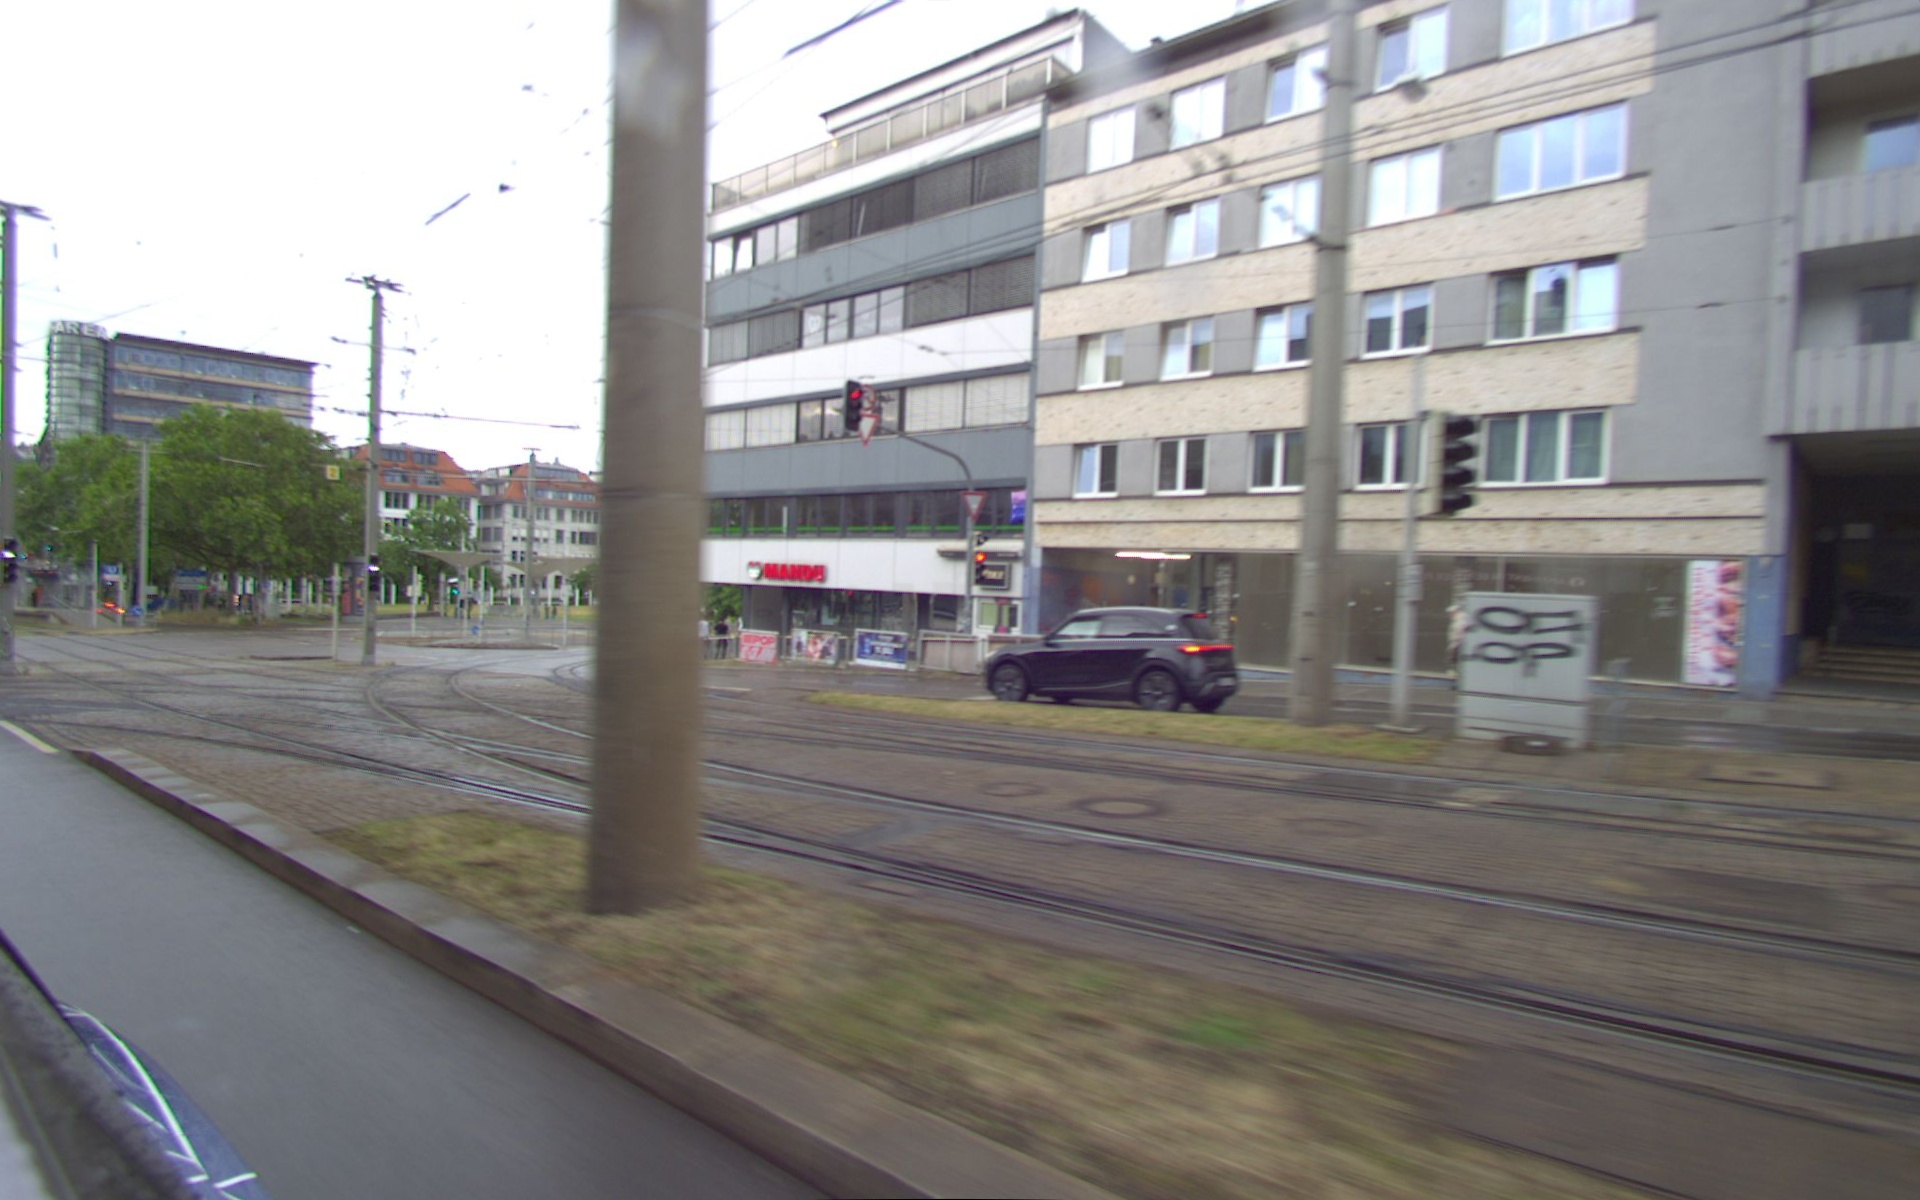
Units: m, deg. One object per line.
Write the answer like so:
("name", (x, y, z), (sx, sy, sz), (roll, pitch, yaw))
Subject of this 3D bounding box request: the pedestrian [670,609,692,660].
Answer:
("pedestrian", (-10.856, 1.338, 39.365), (0.687, 1.928, 0.720), (1, 0, -7))

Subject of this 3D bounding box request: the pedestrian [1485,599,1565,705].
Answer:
("pedestrian", (9.414, 0.845, 16.866), (0.998, 1.694, 0.878), (-1, -2, 41))

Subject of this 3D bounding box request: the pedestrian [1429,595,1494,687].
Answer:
("pedestrian", (9.581, 0.770, 19.337), (0.997, 1.694, 0.672), (-1, -2, 39))

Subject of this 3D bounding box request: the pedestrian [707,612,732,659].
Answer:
("pedestrian", (-9.982, 1.454, 42.019), (0.697, 1.928, 0.710), (1, 0, 40))

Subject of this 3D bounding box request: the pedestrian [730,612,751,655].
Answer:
("pedestrian", (-9.134, 1.386, 42.101), (0.688, 1.775, 0.719), (1, 0, 0))

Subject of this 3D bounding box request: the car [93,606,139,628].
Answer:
("car", (-63.838, 1.276, 76.506), (4.731, 1.517, 2.076), (1, 0, 42))

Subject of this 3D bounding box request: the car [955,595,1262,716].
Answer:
("car", (2.317, 0.816, 16.291), (4.518, 1.686, 1.976), (-1, -2, 36))
